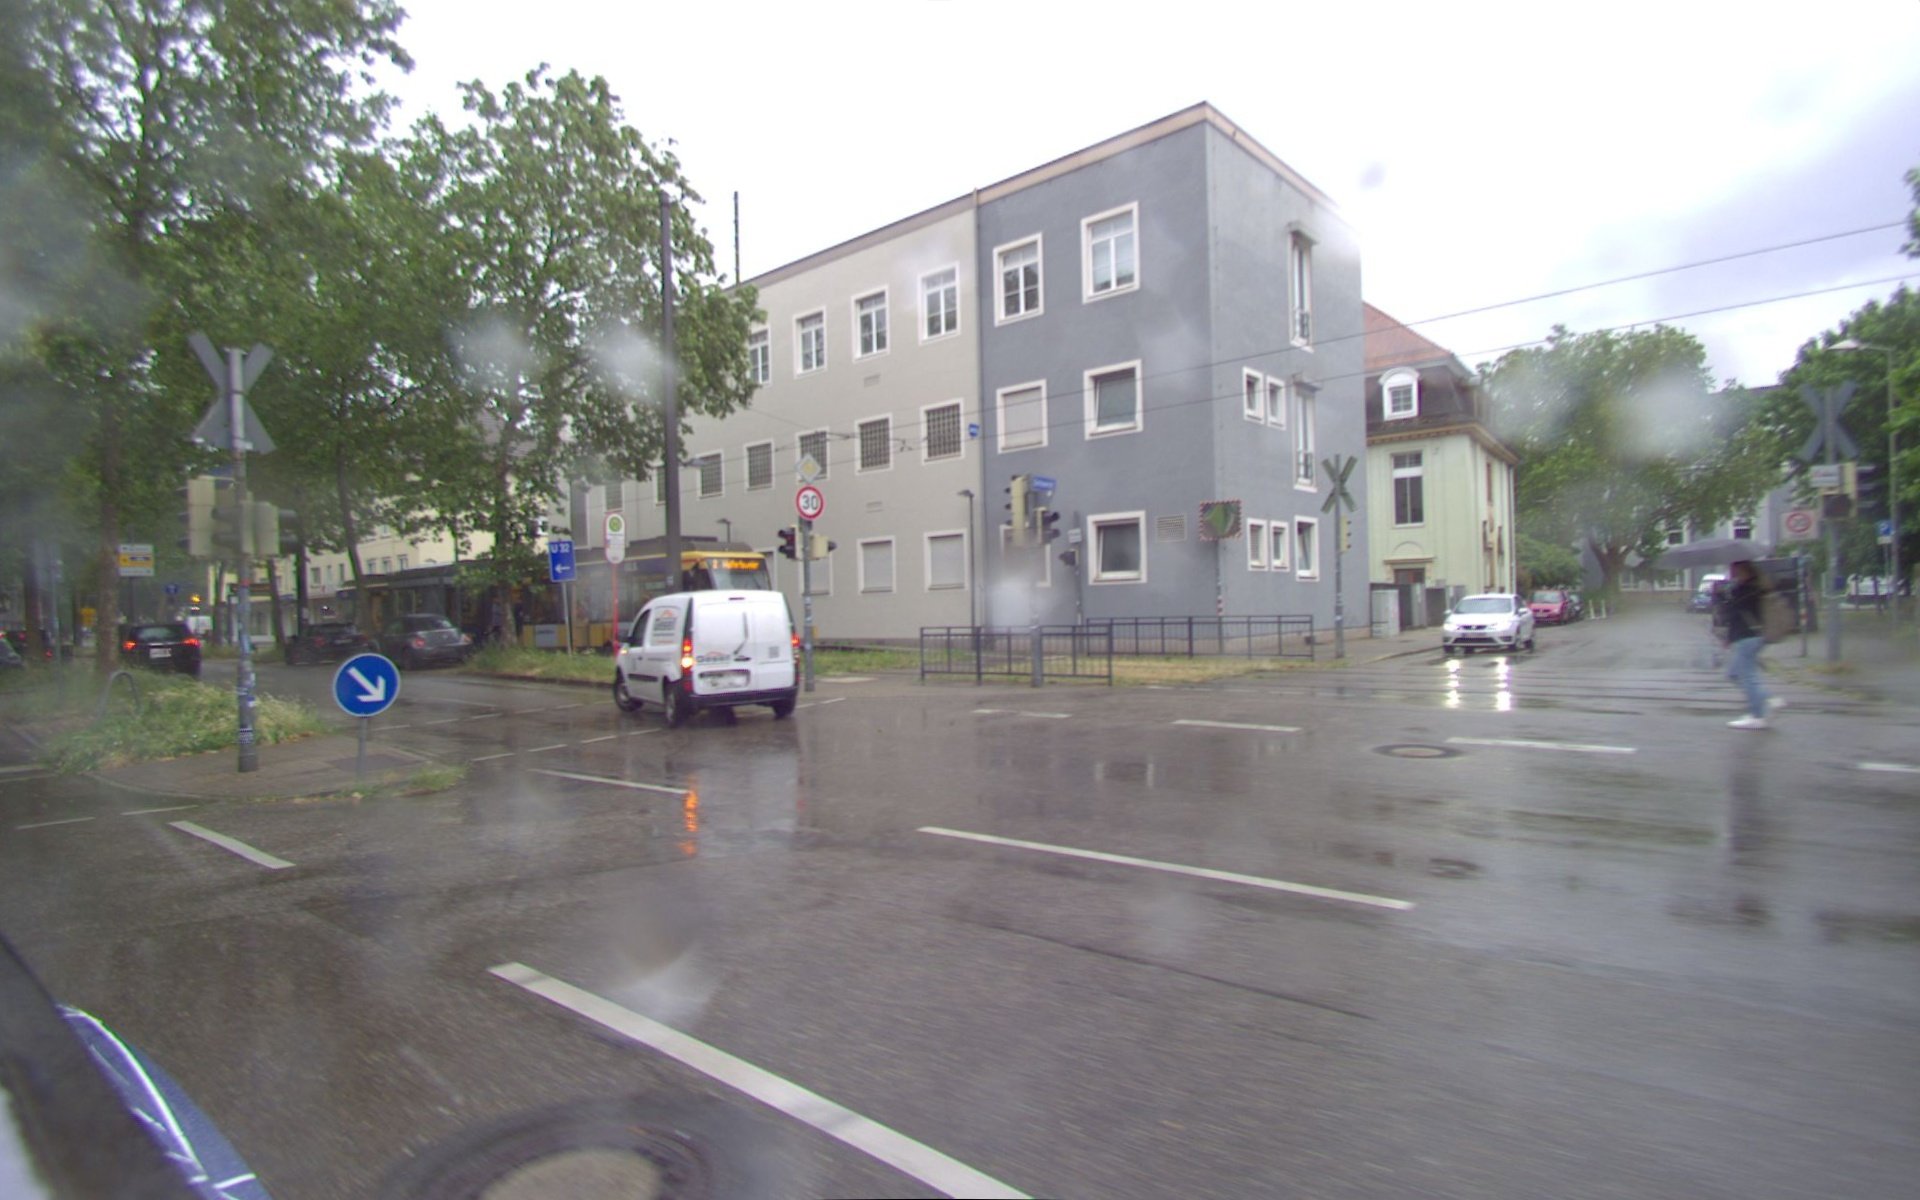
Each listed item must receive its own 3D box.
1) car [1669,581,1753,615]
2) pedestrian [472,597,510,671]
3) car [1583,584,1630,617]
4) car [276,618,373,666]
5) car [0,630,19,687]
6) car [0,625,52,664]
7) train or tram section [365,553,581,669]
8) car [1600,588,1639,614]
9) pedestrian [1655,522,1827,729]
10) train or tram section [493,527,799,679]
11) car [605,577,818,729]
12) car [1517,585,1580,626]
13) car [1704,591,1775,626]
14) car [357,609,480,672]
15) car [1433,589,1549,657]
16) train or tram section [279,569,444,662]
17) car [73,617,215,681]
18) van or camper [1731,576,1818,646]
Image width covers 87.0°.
[{"bbox_3d":[48.419,-0.134,65.281,1.970,2.029,4.003,-1,-1,-44],"label":"car"},{"bbox_3d":[-12.145,0.878,26.231,0.635,1.869,0.654,-2,-1,42],"label":"pedestrian"},{"bbox_3d":[36.932,0.001,57.804,1.890,1.795,3.949,-2,-1,38],"label":"car"},{"bbox_3d":[-21.256,1.395,33.802,3.703,1.395,1.655,-3,3,41],"label":"car"},{"bbox_3d":[-27.384,1.638,27.906,4.004,1.493,1.710,-3,-1,42],"label":"car"},{"bbox_3d":[-43.485,2.076,46.876,3.647,1.675,1.655,-3,-1,41],"label":"car"},{"bbox_3d":[-18.148,0.439,37.097,11.548,3.669,2.869,-2,0,42],"label":"train or tram section"},{"bbox_3d":[40.644,0.047,62.368,1.675,1.549,3.949,-2,-1,38],"label":"car"},{"bbox_3d":[7.407,0.229,9.611,1.205,1.813,0.926,-2,-1,41],"label":"pedestrian"},{"bbox_3d":[-9.525,0.175,29.370,11.548,3.669,2.869,-2,0,42],"label":"train or tram section"},{"bbox_3d":[-3.771,0.697,14.812,1.905,1.863,4.078,-2,-1,-30],"label":"car"},{"bbox_3d":[26.966,0.251,46.317,1.997,1.763,3.950,-1,-1,37],"label":"car"},{"bbox_3d":[31.674,0.334,41.094,1.999,1.321,3.945,-3,-1,41],"label":"car"},{"bbox_3d":[-15.261,1.141,28.447,3.972,1.520,1.655,-3,3,41],"label":"car"},{"bbox_3d":[13.518,0.544,25.659,1.886,1.539,4.039,-2,-1,38],"label":"car"},{"bbox_3d":[-26.719,0.701,44.811,11.548,3.669,2.869,-2,0,42],"label":"train or tram section"},{"bbox_3d":[-23.173,1.372,28.687,4.665,1.631,2.037,-2,-1,37],"label":"car"},{"bbox_3d":[25.788,0.310,32.026,1.998,2.029,3.947,-2,0,40],"label":"van or camper"}]
